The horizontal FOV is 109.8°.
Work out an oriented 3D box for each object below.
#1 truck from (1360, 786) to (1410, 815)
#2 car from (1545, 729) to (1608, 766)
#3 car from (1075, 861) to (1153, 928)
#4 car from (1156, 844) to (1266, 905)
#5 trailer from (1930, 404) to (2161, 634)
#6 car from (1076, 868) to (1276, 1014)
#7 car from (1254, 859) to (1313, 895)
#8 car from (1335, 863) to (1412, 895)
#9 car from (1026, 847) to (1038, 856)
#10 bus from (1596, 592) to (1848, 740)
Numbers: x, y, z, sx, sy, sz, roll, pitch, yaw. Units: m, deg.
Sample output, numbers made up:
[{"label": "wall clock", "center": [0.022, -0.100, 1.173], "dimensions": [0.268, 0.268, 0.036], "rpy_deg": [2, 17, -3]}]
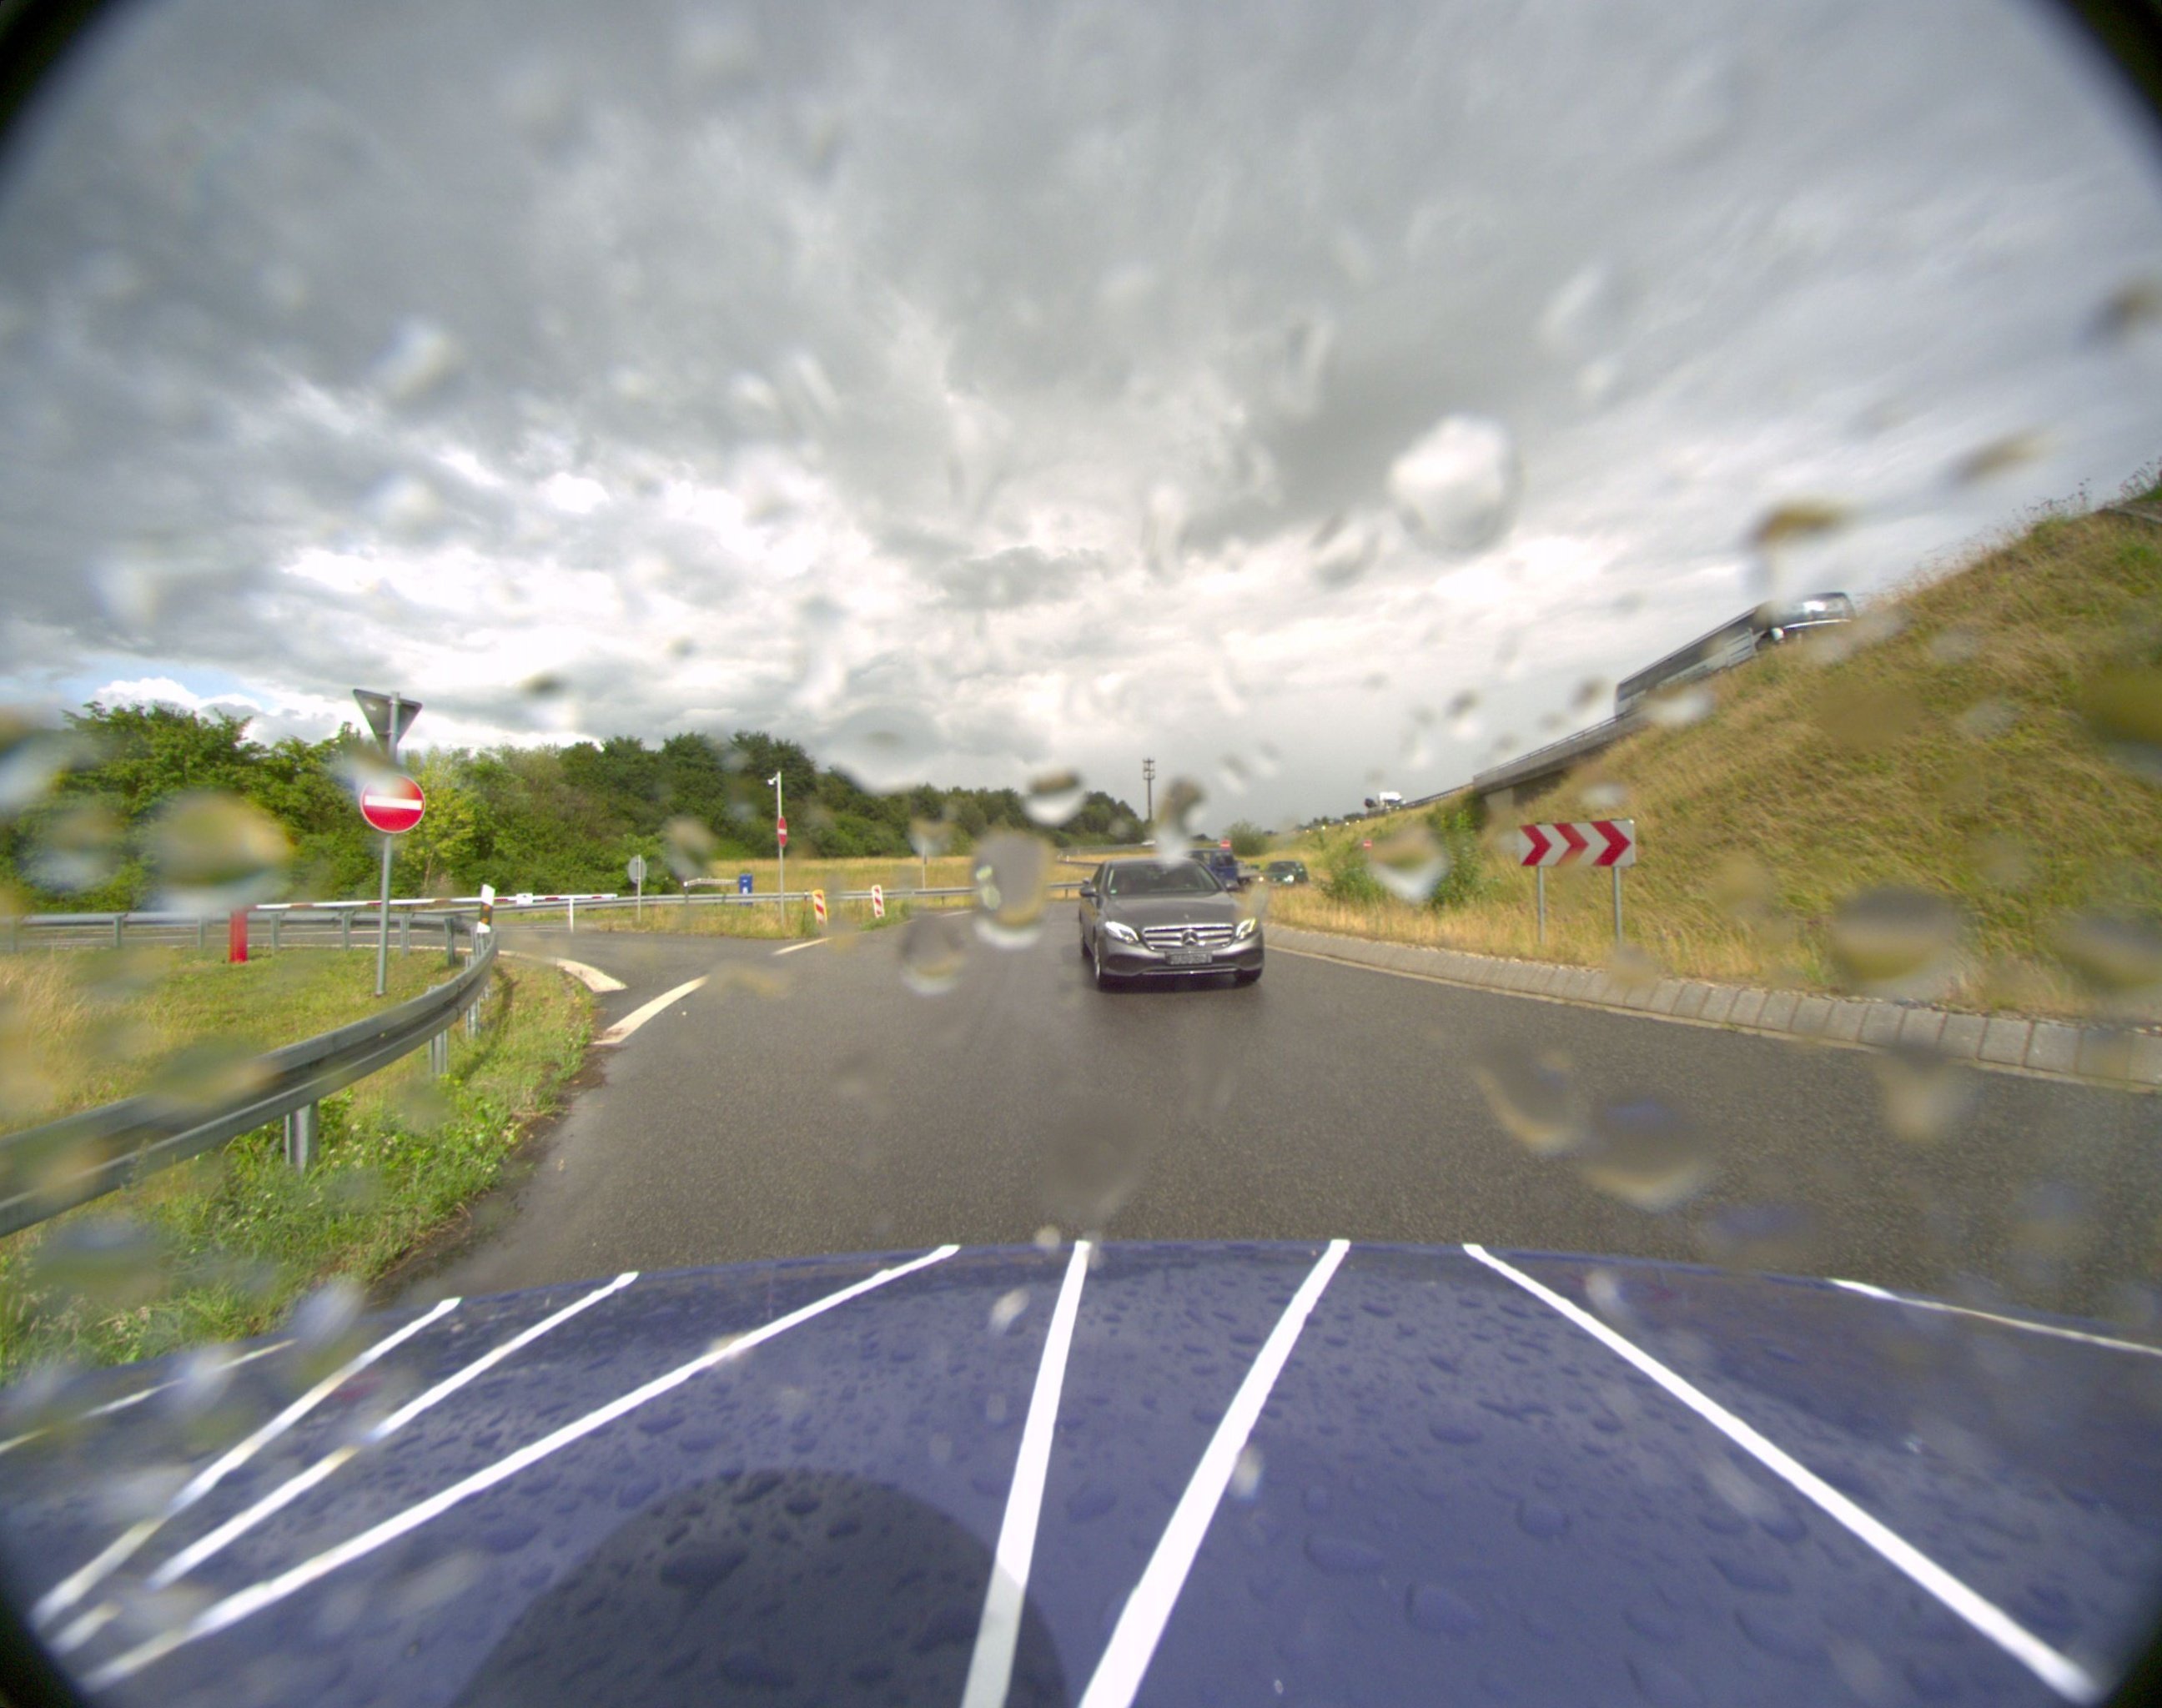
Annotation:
[{"label": "truck", "center": [42.515, -7.454, 106.769], "dimensions": [3.159, 3.175, 9.279], "rpy_deg": [-2, 0, -1]}, {"label": "car", "center": [32.282, -6.911, 49.663], "dimensions": [1.711, 1.517, 4.497], "rpy_deg": [-12, -2, 11]}, {"label": "car", "center": [0.795, 0.968, 19.751], "dimensions": [1.797, 1.390, 4.348], "rpy_deg": [1, 1, 1]}, {"label": "car", "center": [5.099, 0.699, 29.002], "dimensions": [1.889, 1.904, 5.692], "rpy_deg": [-3, 1, 33]}, {"label": "trailer", "center": [22.135, -7.205, 15.608], "dimensions": [2.183, 2.854, 8.341], "rpy_deg": [-2, 0, 17]}, {"label": "car", "center": [0.925, 0.927, 9.796], "dimensions": [1.771, 1.383, 4.591], "rpy_deg": [-1, -2, -3]}, {"label": "car", "center": [8.919, 0.961, 33.266], "dimensions": [1.770, 1.476, 3.841], "rpy_deg": [-1, 0, 26]}, {"label": "car", "center": [14.619, 1.216, 37.919], "dimensions": [3.936, 1.527, 1.568], "rpy_deg": [0, 0, -34]}, {"label": "car", "center": [-8.394, -0.463, 130.858], "dimensions": [1.977, 1.527, 3.927], "rpy_deg": [0, 0, -5]}, {"label": "bus", "center": [27.737, -7.772, 34.295], "dimensions": [2.608, 3.061, 14.479], "rpy_deg": [-2, 0, 15]}]
